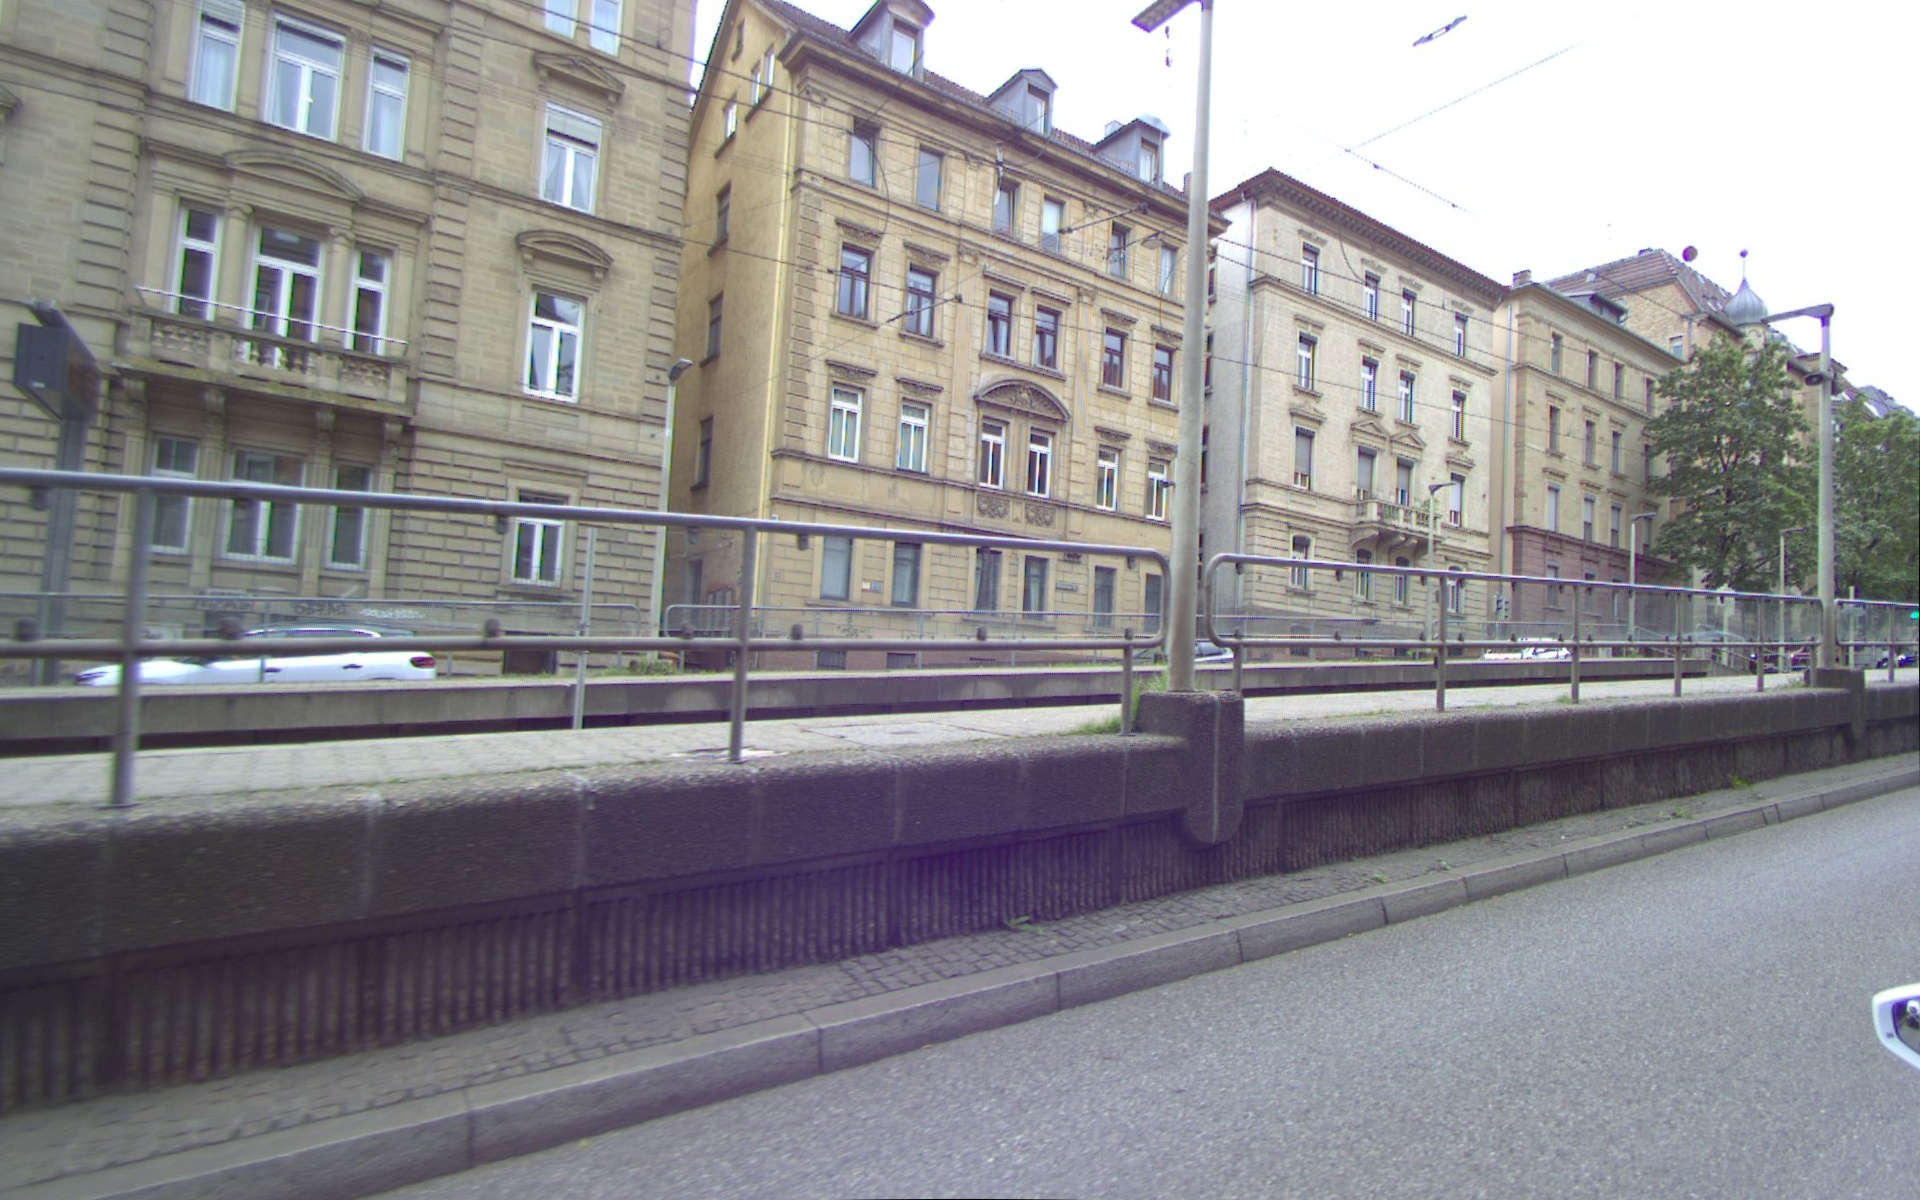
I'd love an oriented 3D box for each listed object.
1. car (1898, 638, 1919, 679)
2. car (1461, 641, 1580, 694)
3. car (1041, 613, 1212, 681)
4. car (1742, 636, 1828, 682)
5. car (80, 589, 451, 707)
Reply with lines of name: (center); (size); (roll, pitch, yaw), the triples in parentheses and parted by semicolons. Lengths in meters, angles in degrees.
car: (43.076, 2.557, 44.134); (4.527, 1.758, 1.699); (2, -2, -33)
car: (19.047, 2.254, 34.116); (3.959, 1.701, 1.924); (1, -3, -34)
car: (4.119, 1.142, 24.740); (3.958, 1.548, 1.867); (1, -3, -34)
car: (35.548, 2.489, 43.258); (4.098, 1.884, 1.837); (2, -3, -36)
car: (-9.925, 0.662, 14.702); (4.218, 1.490, 1.756); (2, -1, -35)
